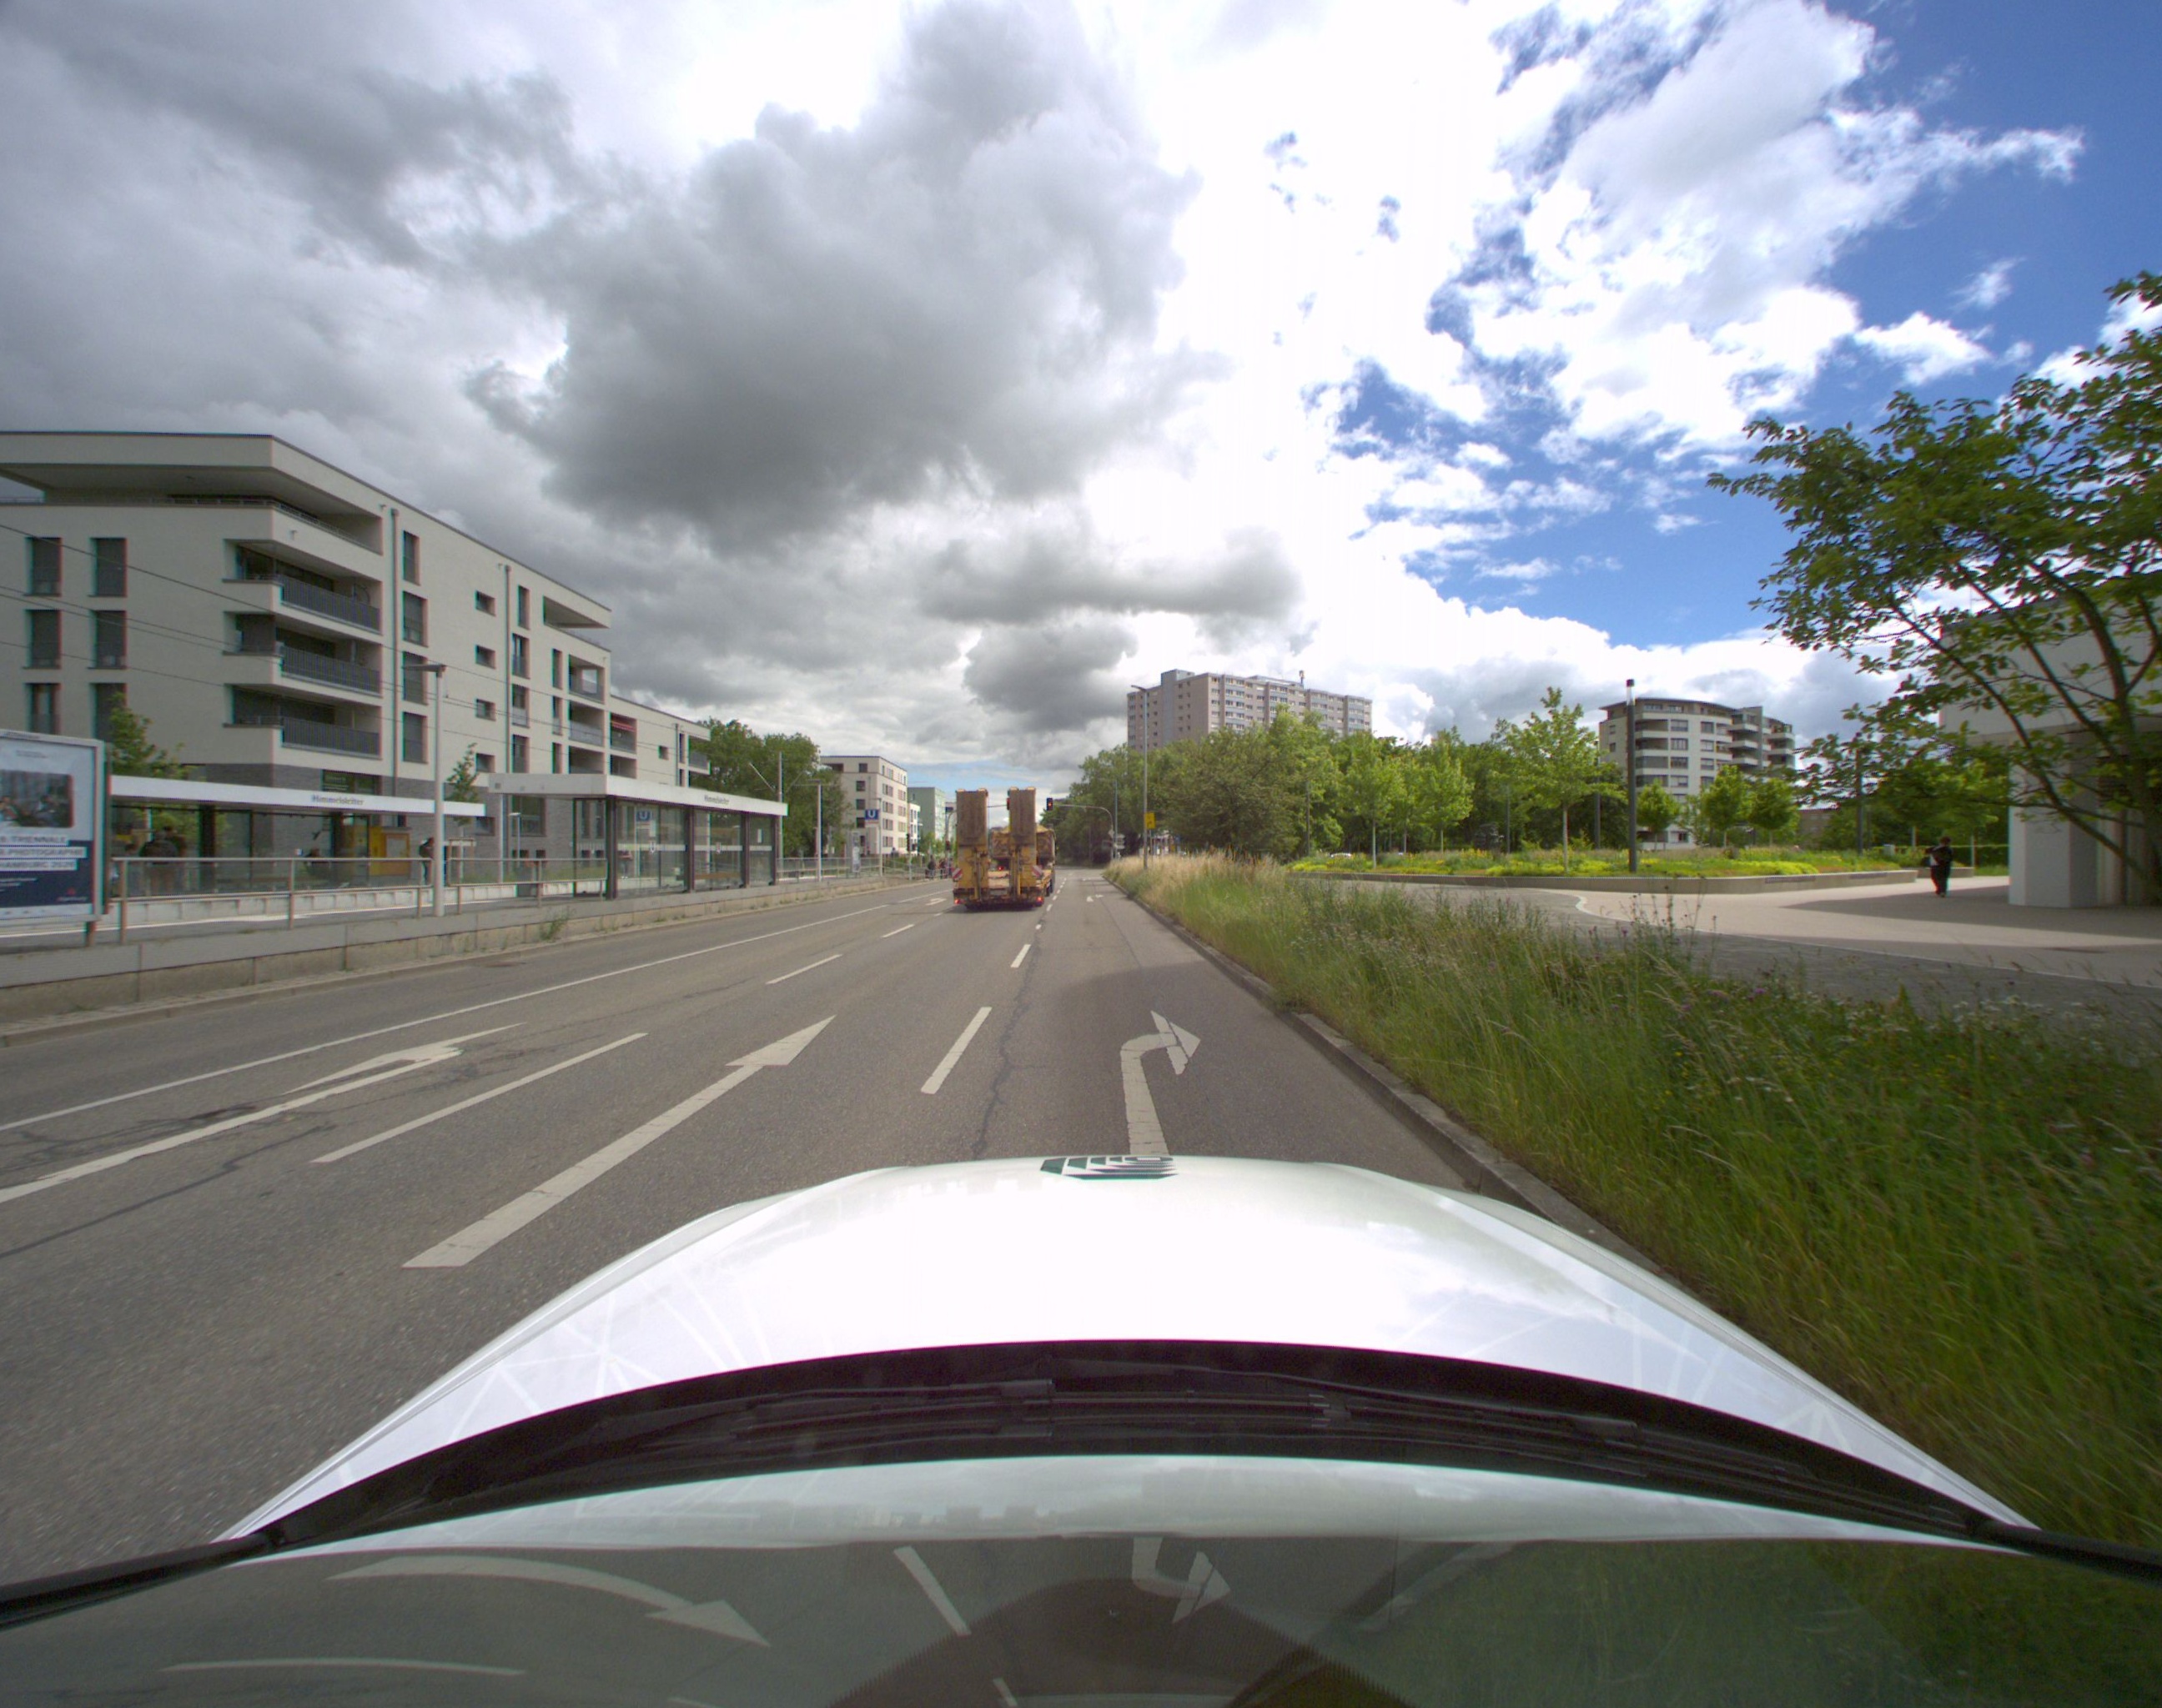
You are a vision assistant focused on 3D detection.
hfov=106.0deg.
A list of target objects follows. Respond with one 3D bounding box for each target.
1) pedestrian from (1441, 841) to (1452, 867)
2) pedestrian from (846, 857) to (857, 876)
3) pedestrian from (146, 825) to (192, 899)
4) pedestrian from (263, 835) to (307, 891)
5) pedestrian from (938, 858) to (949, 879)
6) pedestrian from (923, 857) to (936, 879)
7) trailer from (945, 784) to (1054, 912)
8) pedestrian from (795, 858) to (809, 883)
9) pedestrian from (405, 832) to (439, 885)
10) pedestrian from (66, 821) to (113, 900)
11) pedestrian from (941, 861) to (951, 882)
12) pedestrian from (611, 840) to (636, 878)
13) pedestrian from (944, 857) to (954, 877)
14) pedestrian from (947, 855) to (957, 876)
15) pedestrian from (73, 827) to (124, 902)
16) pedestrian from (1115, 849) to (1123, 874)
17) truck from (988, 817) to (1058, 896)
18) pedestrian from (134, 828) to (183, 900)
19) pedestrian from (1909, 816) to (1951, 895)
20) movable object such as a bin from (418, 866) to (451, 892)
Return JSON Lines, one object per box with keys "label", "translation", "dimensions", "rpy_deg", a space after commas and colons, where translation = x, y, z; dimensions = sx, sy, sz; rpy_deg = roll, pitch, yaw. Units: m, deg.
{"label": "pedestrian", "translation": [26.730, -0.006, 59.526], "dimensions": [0.574, 1.951, 0.405], "rpy_deg": [0, 0, 0]}
{"label": "pedestrian", "translation": [-25.347, 1.347, 89.975], "dimensions": [0.912, 2.133, 0.934], "rpy_deg": [0, 0, -1]}
{"label": "pedestrian", "translation": [-22.172, 0.198, 19.807], "dimensions": [0.482, 1.766, 0.682], "rpy_deg": [0, 0, 34]}
{"label": "pedestrian", "translation": [-22.548, 0.244, 23.082], "dimensions": [0.559, 1.554, 0.678], "rpy_deg": [0, 0, 1]}
{"label": "pedestrian", "translation": [-10.631, 1.095, 63.036], "dimensions": [0.679, 1.603, 0.822], "rpy_deg": [0, 0, -2]}
{"label": "pedestrian", "translation": [-11.485, 1.043, 61.843], "dimensions": [0.817, 1.668, 0.683], "rpy_deg": [0, 0, 0]}
{"label": "trailer", "translation": [-2.455, -0.162, 28.291], "dimensions": [2.721, 3.559, 11.250], "rpy_deg": [0, 0, 0]}
{"label": "pedestrian", "translation": [-24.266, 1.418, 70.908], "dimensions": [0.912, 2.205, 0.882], "rpy_deg": [0, 0, -1]}
{"label": "pedestrian", "translation": [-22.136, 0.140, 27.368], "dimensions": [0.559, 1.766, 0.678], "rpy_deg": [0, 0, 1]}
{"label": "pedestrian", "translation": [-22.104, 0.143, 18.168], "dimensions": [0.491, 1.725, 0.670], "rpy_deg": [0, 0, -35]}
{"label": "pedestrian", "translation": [-10.613, 1.361, 64.017], "dimensions": [0.679, 1.603, 0.822], "rpy_deg": [0, 0, -2]}
{"label": "pedestrian", "translation": [-21.521, 0.242, 38.332], "dimensions": [0.674, 1.766, 0.933], "rpy_deg": [0, 0, -3]}
{"label": "pedestrian", "translation": [-10.616, 1.053, 65.650], "dimensions": [0.679, 1.603, 0.822], "rpy_deg": [0, 0, -2]}
{"label": "pedestrian", "translation": [-10.560, 0.934, 66.557], "dimensions": [0.679, 1.670, 0.822], "rpy_deg": [0, 0, -2]}
{"label": "pedestrian", "translation": [-21.386, 0.229, 17.743], "dimensions": [0.483, 1.596, 0.682], "rpy_deg": [0, 0, 42]}
{"label": "pedestrian", "translation": [3.072, 0.611, 65.376], "dimensions": [0.561, 2.014, 0.490], "rpy_deg": [0, -1, -10]}
{"label": "truck", "translation": [-2.533, 0.101, 38.107], "dimensions": [2.745, 3.313, 8.349], "rpy_deg": [0, 0, -1]}
{"label": "pedestrian", "translation": [-21.013, 0.228, 18.547], "dimensions": [0.482, 1.596, 0.682], "rpy_deg": [0, 0, 34]}
{"label": "pedestrian", "translation": [21.963, 0.044, 21.076], "dimensions": [0.686, 2.014, 0.612], "rpy_deg": [1, -2, 40]}
{"label": "movable object such as a bin", "translation": [-21.593, 0.820, 27.213], "dimensions": [0.559, 0.849, 0.678], "rpy_deg": [0, 0, 1]}
